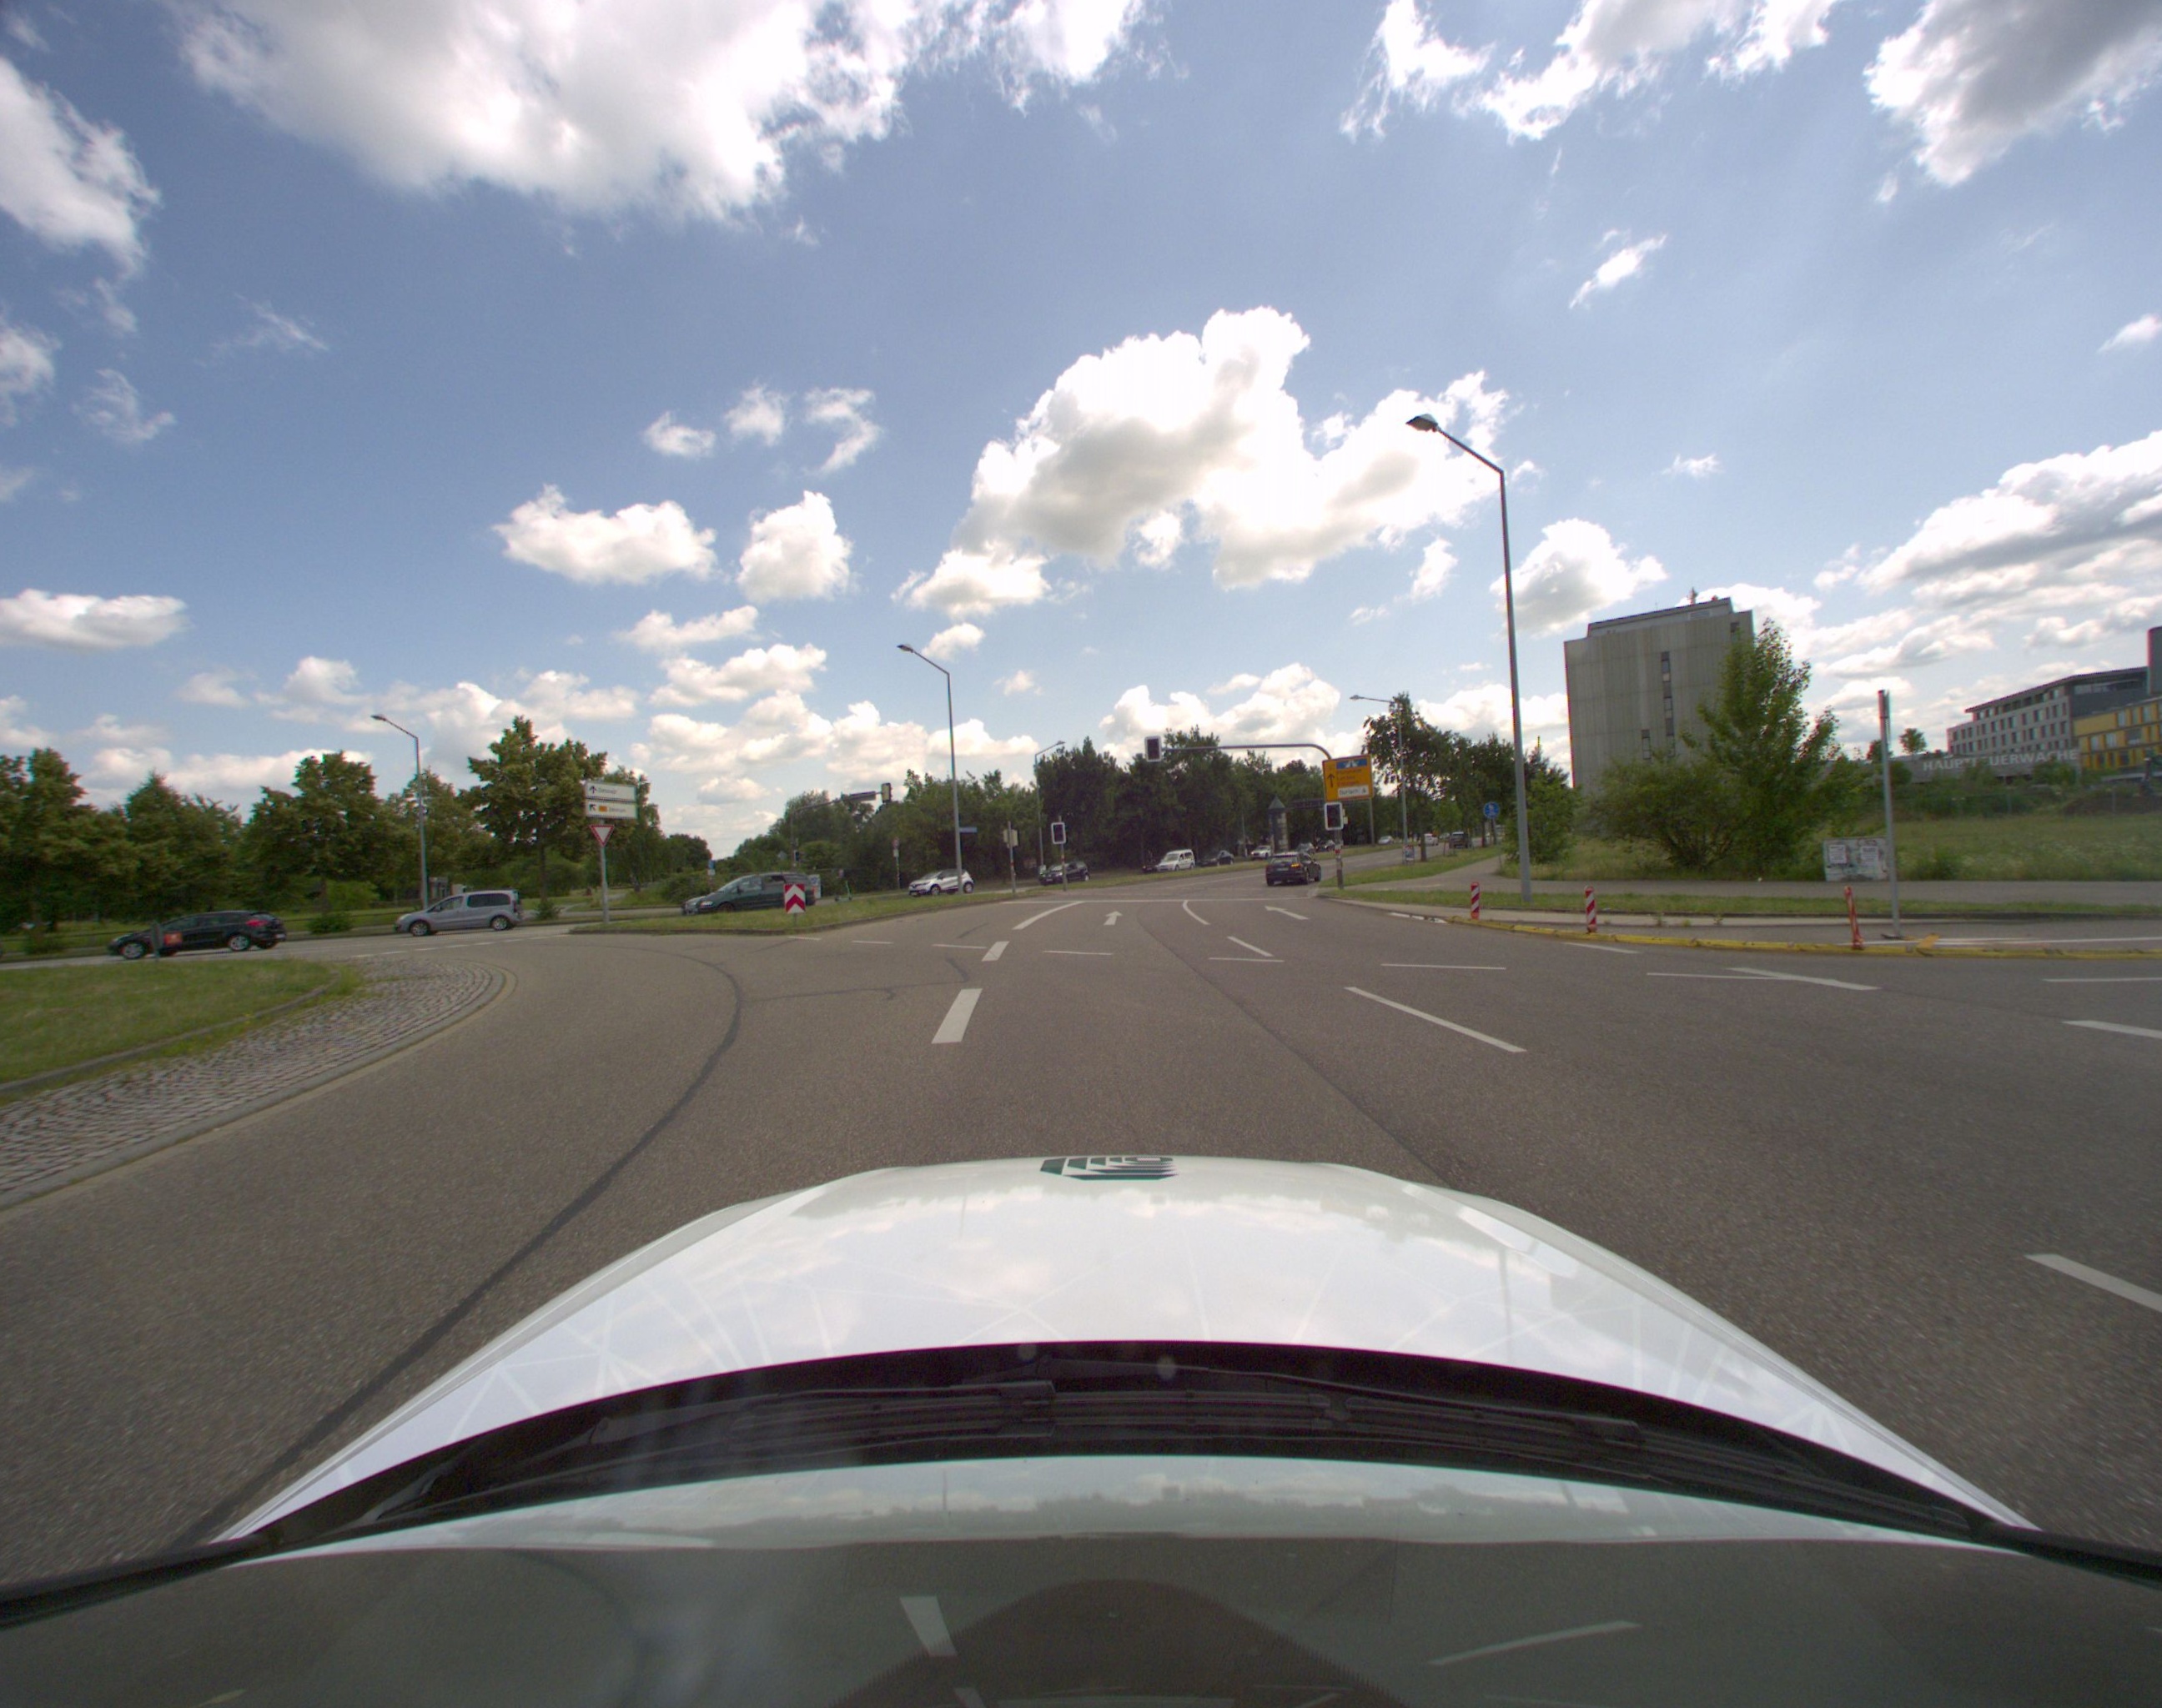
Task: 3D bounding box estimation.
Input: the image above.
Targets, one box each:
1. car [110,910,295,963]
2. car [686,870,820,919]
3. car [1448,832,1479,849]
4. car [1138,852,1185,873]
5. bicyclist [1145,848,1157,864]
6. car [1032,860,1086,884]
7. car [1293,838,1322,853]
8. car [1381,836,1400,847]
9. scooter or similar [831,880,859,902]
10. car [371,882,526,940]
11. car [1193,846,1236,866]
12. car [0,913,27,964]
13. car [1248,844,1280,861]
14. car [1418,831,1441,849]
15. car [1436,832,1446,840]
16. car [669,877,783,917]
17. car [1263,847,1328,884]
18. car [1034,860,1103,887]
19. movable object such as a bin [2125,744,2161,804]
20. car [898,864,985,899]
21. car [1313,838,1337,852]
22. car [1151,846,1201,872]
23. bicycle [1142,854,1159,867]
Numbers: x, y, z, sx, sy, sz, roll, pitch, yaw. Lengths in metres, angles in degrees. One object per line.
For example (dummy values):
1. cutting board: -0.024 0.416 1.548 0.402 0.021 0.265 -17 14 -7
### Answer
1. car: -30.911 2.857 28.816 3.985 1.340 1.788 -5 -1 -24
2. car: -13.176 1.596 32.807 4.614 1.592 1.892 -3 -1 -38
3. car: 40.048 -1.430 85.227 1.974 1.626 4.337 -3 0 36
4. car: 6.957 0.701 70.074 1.820 1.443 4.448 -6 -2 37
5. bicyclist: 7.111 0.172 82.335 0.822 1.565 0.889 -1 1 33
6. car: -1.499 1.239 57.388 1.600 1.348 4.198 -6 -2 34
7. car: 26.768 -1.022 96.214 1.705 1.591 5.046 -5 -1 33
8. car: 47.742 -1.910 125.646 1.746 1.440 4.337 -5 -1 33
9. scooter or similar: -13.637 2.123 47.062 0.535 1.166 1.450 -3 0 37
10. car: -26.804 2.375 34.767 4.796 2.013 1.983 -3 0 -25
11. car: 11.994 0.130 72.883 1.820 1.480 4.784 -6 -2 33
12. car: -41.640 3.244 28.876 4.677 1.820 2.105 -4 1 -30
13. car: 20.328 -0.195 90.213 1.891 1.540 4.397 -5 -1 33
14. car: 42.541 -1.749 99.382 1.974 2.013 4.025 -2 0 31
15. car: 78.329 -3.862 177.352 1.726 1.569 4.299 -5 -1 22
16. car: -15.810 1.872 36.425 1.888 1.423 4.216 -4 0 45
17. car: 9.647 0.489 36.434 1.667 1.463 4.026 -2 0 32
18. car: -0.756 1.229 52.367 1.820 1.310 4.819 -6 -2 36
19. movable object such as a bin: 74.841 -5.437 54.605 7.601 3.852 3.035 -1 0 -14
20. car: -8.113 1.582 47.782 1.974 1.686 4.818 -4 0 40
21. car: 33.264 -1.243 111.054 1.746 1.577 5.064 -5 -1 33
22. car: 7.733 0.388 65.775 1.820 1.799 4.819 -6 -2 34
23. bicycle: 7.039 0.639 82.219 0.753 1.219 2.029 -1 1 33
